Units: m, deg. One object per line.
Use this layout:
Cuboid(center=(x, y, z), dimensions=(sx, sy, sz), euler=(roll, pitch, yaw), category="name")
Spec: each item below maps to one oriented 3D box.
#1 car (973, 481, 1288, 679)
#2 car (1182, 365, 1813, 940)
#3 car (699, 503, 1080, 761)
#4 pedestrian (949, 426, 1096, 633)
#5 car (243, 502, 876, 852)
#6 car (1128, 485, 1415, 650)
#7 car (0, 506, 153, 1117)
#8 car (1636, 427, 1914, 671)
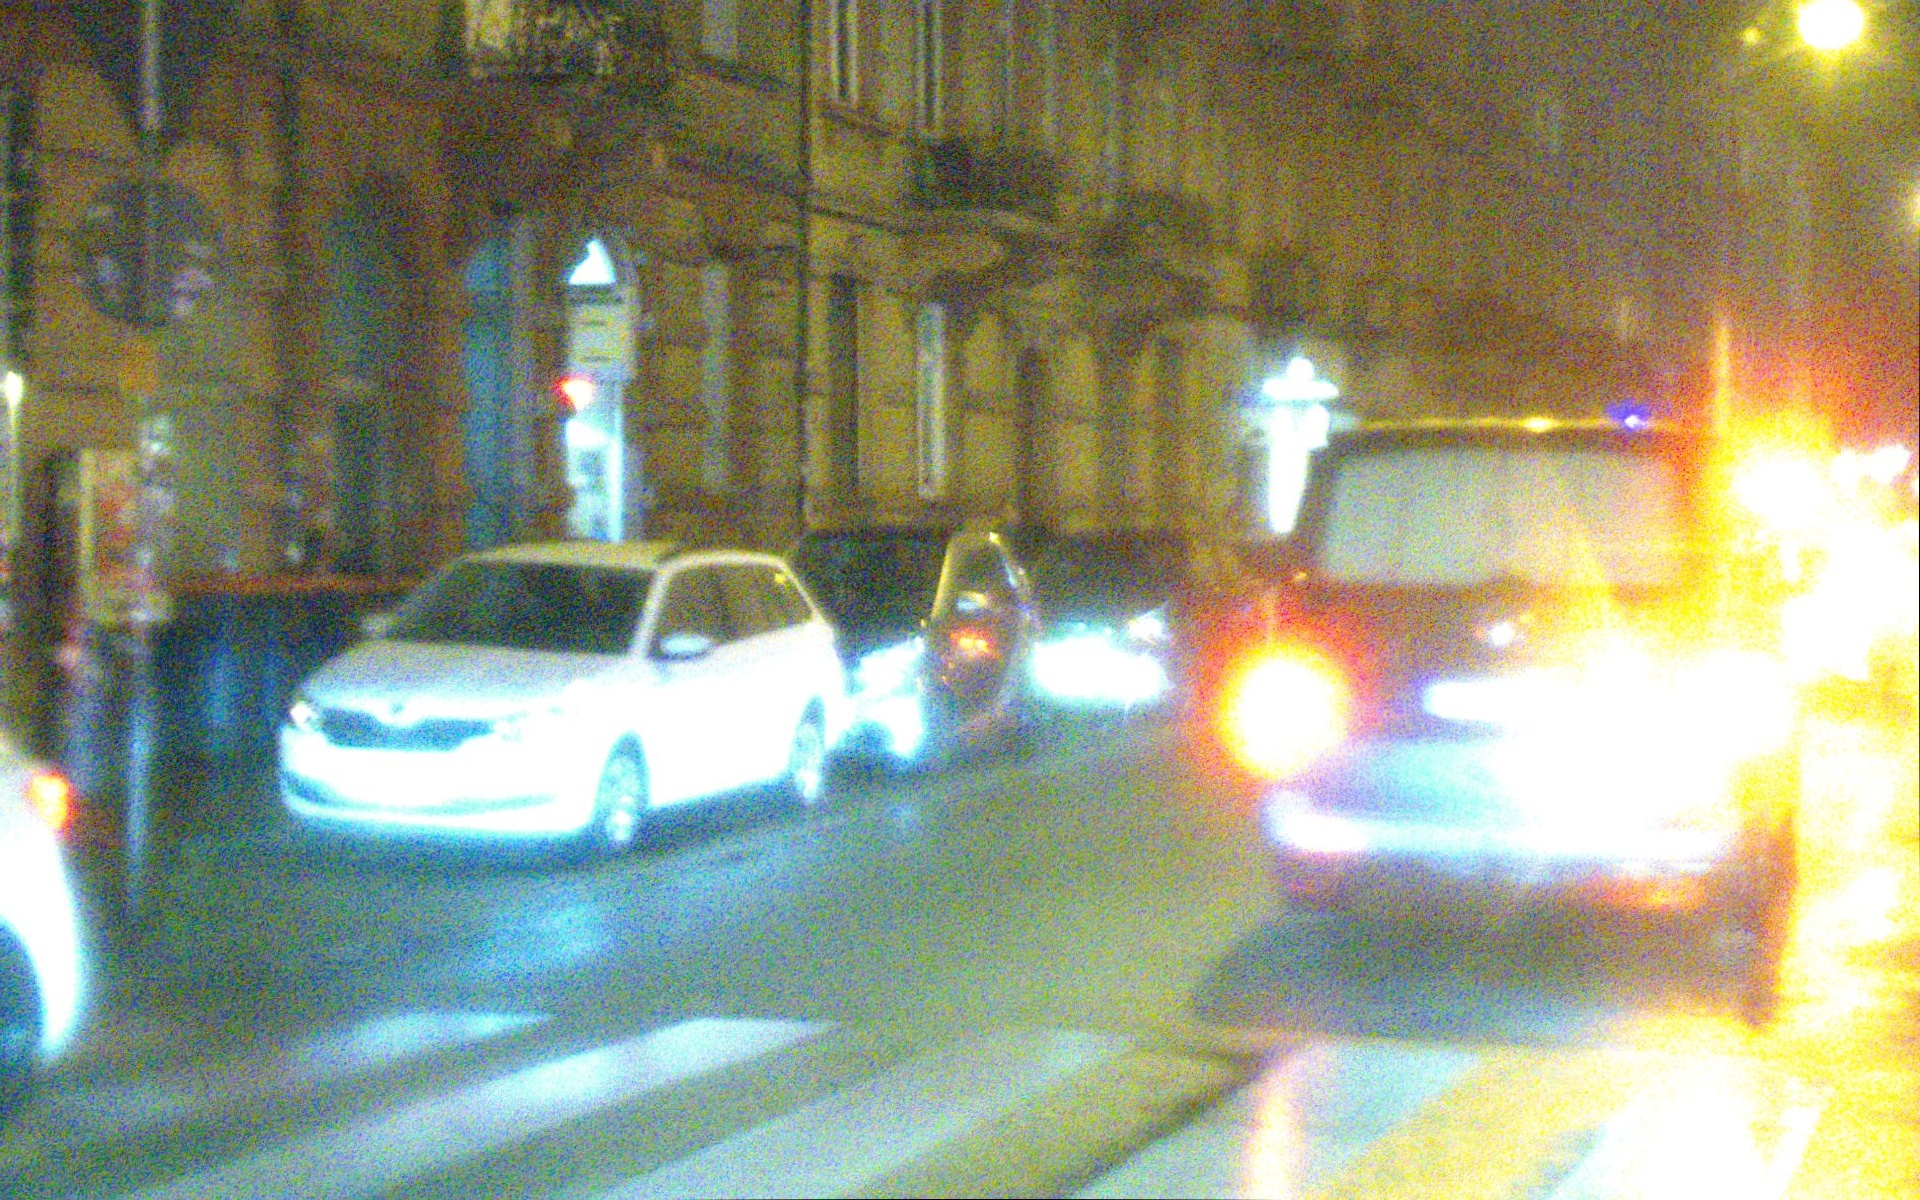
Cuboid(center=(1.420, -0.214, 27.395), dimensions=(1.588, 1.444, 3.500), euler=(1, 2, 19), category="car")
Cuboid(center=(2.418, 0.091, 14.331), dimensions=(2.124, 1.984, 4.598), euler=(0, 2, 15), category="car")
Cuboid(center=(-0.399, 0.148, 22.184), dimensions=(1.588, 1.504, 2.785), euler=(1, 2, 19), category="car")
Cuboid(center=(0.583, -0.657, 31.750), dimensions=(1.033, 1.858, 0.976), euler=(2, 2, 22), category="pedestrian")
Cuboid(center=(-1.906, 0.287, 17.626), dimensions=(1.588, 1.458, 4.020), euler=(3, 3, 19), category="car")
Cuboid(center=(2.992, -0.357, 32.238), dimensions=(1.692, 1.396, 4.313), euler=(1, 3, 19), category="car")
Cuboid(center=(-3.577, 0.570, 7.016), dimensions=(1.565, 1.422, 4.064), euler=(-1, 2, 24), category="car")
Cuboid(center=(7.096, -0.510, 29.603), dimensions=(2.124, 1.915, 4.823), euler=(1, 3, 15), category="car")
